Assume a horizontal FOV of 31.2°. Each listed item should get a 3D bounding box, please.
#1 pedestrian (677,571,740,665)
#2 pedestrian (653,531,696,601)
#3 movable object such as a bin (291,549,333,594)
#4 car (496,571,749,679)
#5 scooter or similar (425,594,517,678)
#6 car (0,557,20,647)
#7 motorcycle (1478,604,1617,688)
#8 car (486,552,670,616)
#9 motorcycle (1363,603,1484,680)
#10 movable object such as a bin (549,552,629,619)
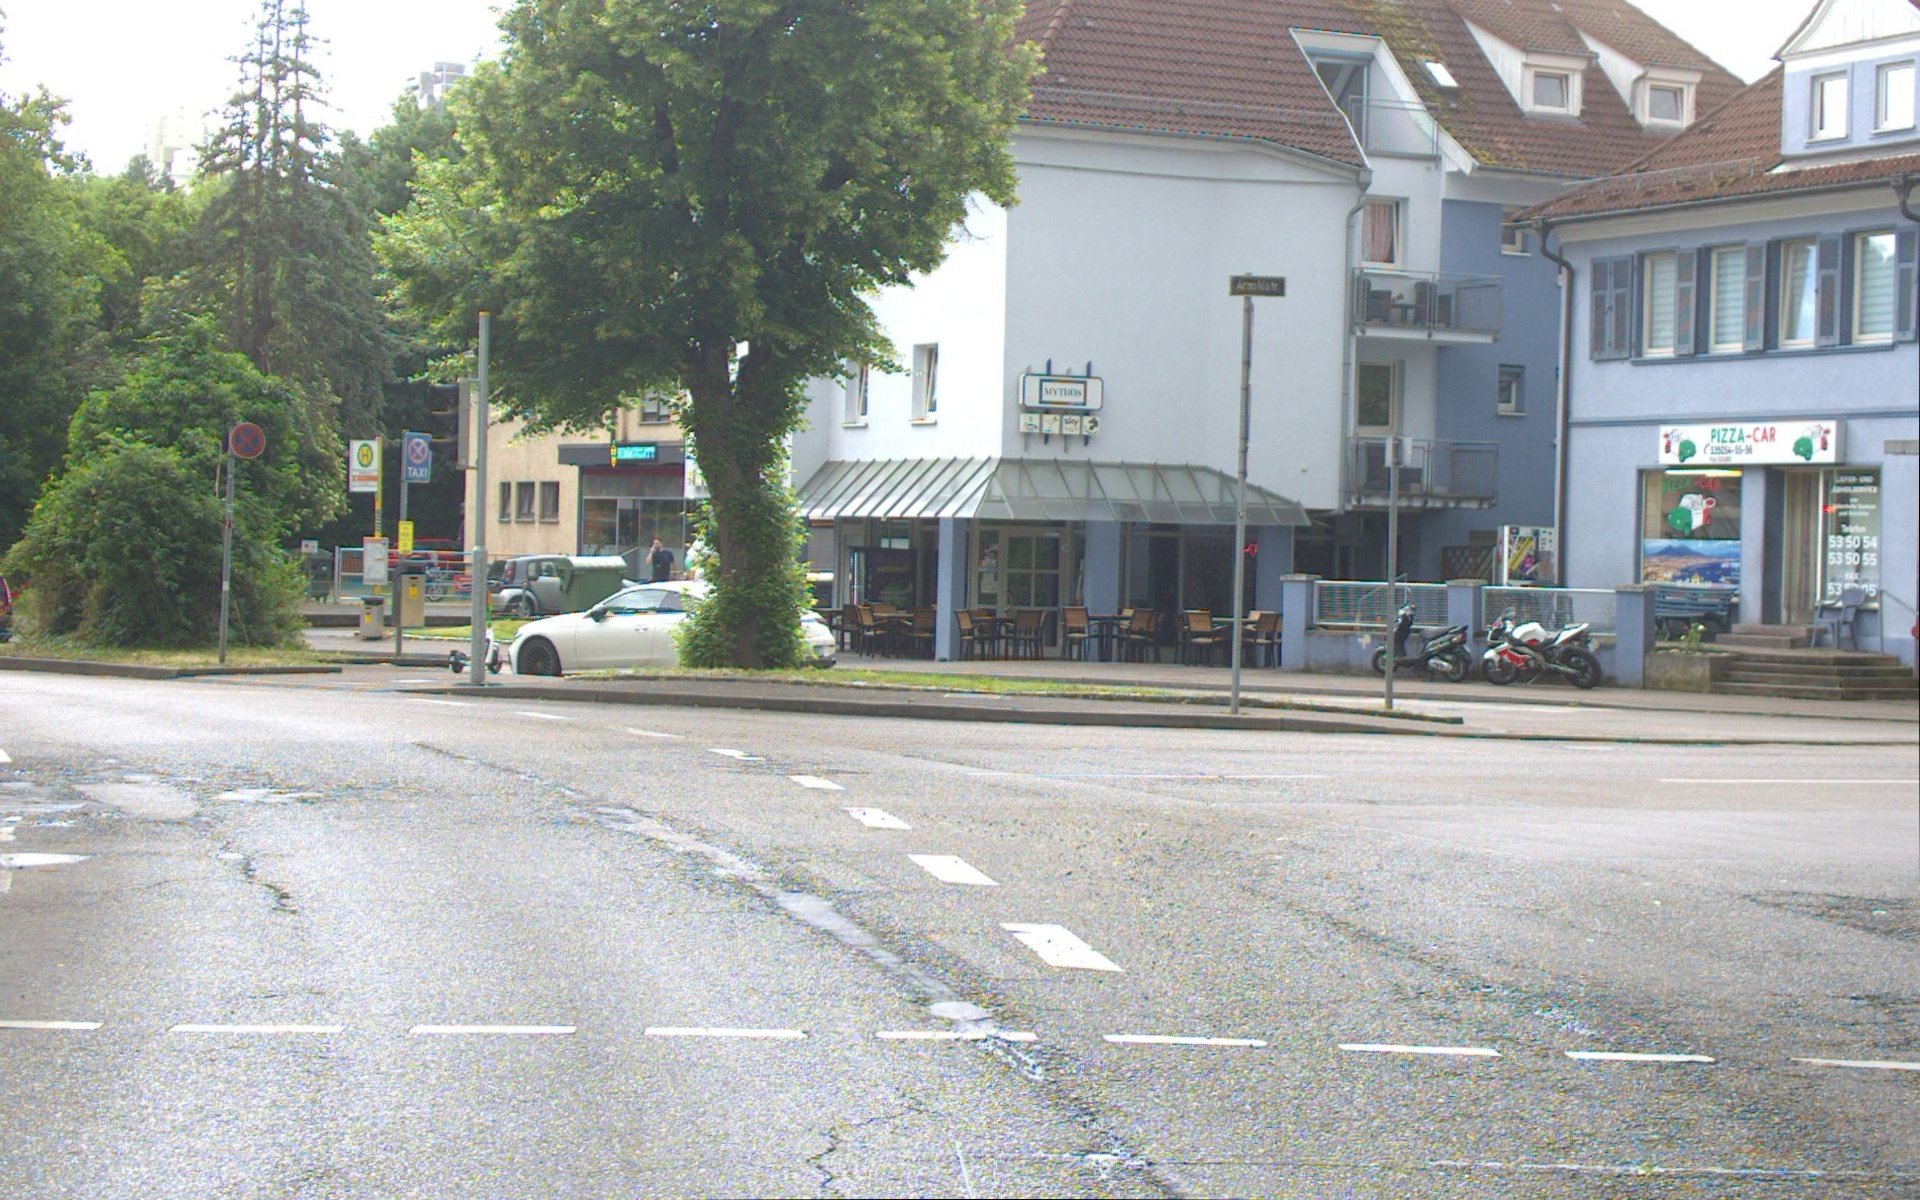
[{"bbox_3d":[-4.193,0.294,57.394,0.768,1.539,0.677,1,1,39],"label":"pedestrian"},{"bbox_3d":[-6.320,-0.753,76.073,0.676,1.539,0.708,1,1,-34],"label":"pedestrian"},{"bbox_3d":[-16.245,-0.720,86.162,0.950,1.111,0.383,1,1,-21],"label":"movable object such as a bin"},{"bbox_3d":[-4.528,0.320,46.038,3.171,1.350,1.436,2,1,35],"label":"car"},{"bbox_3d":[-6.056,0.435,42.645,0.417,1.008,1.565,1,1,20],"label":"scooter or similar"},{"bbox_3d":[-16.511,-0.007,53.717,3.590,1.389,1.469,2,1,32],"label":"car"},{"bbox_3d":[8.260,0.637,48.376,1.798,1.118,0.693,2,1,38],"label":"motorcycle"},{"bbox_3d":[-8.424,-0.356,75.867,3.733,1.340,1.434,1,1,-26],"label":"car"},{"bbox_3d":[6.754,0.599,50.154,1.636,1.060,0.693,2,1,44],"label":"motorcycle"},{"bbox_3d":[-7.981,-0.315,73.970,1.440,1.404,0.967,1,1,-27],"label":"movable object such as a bin"}]
